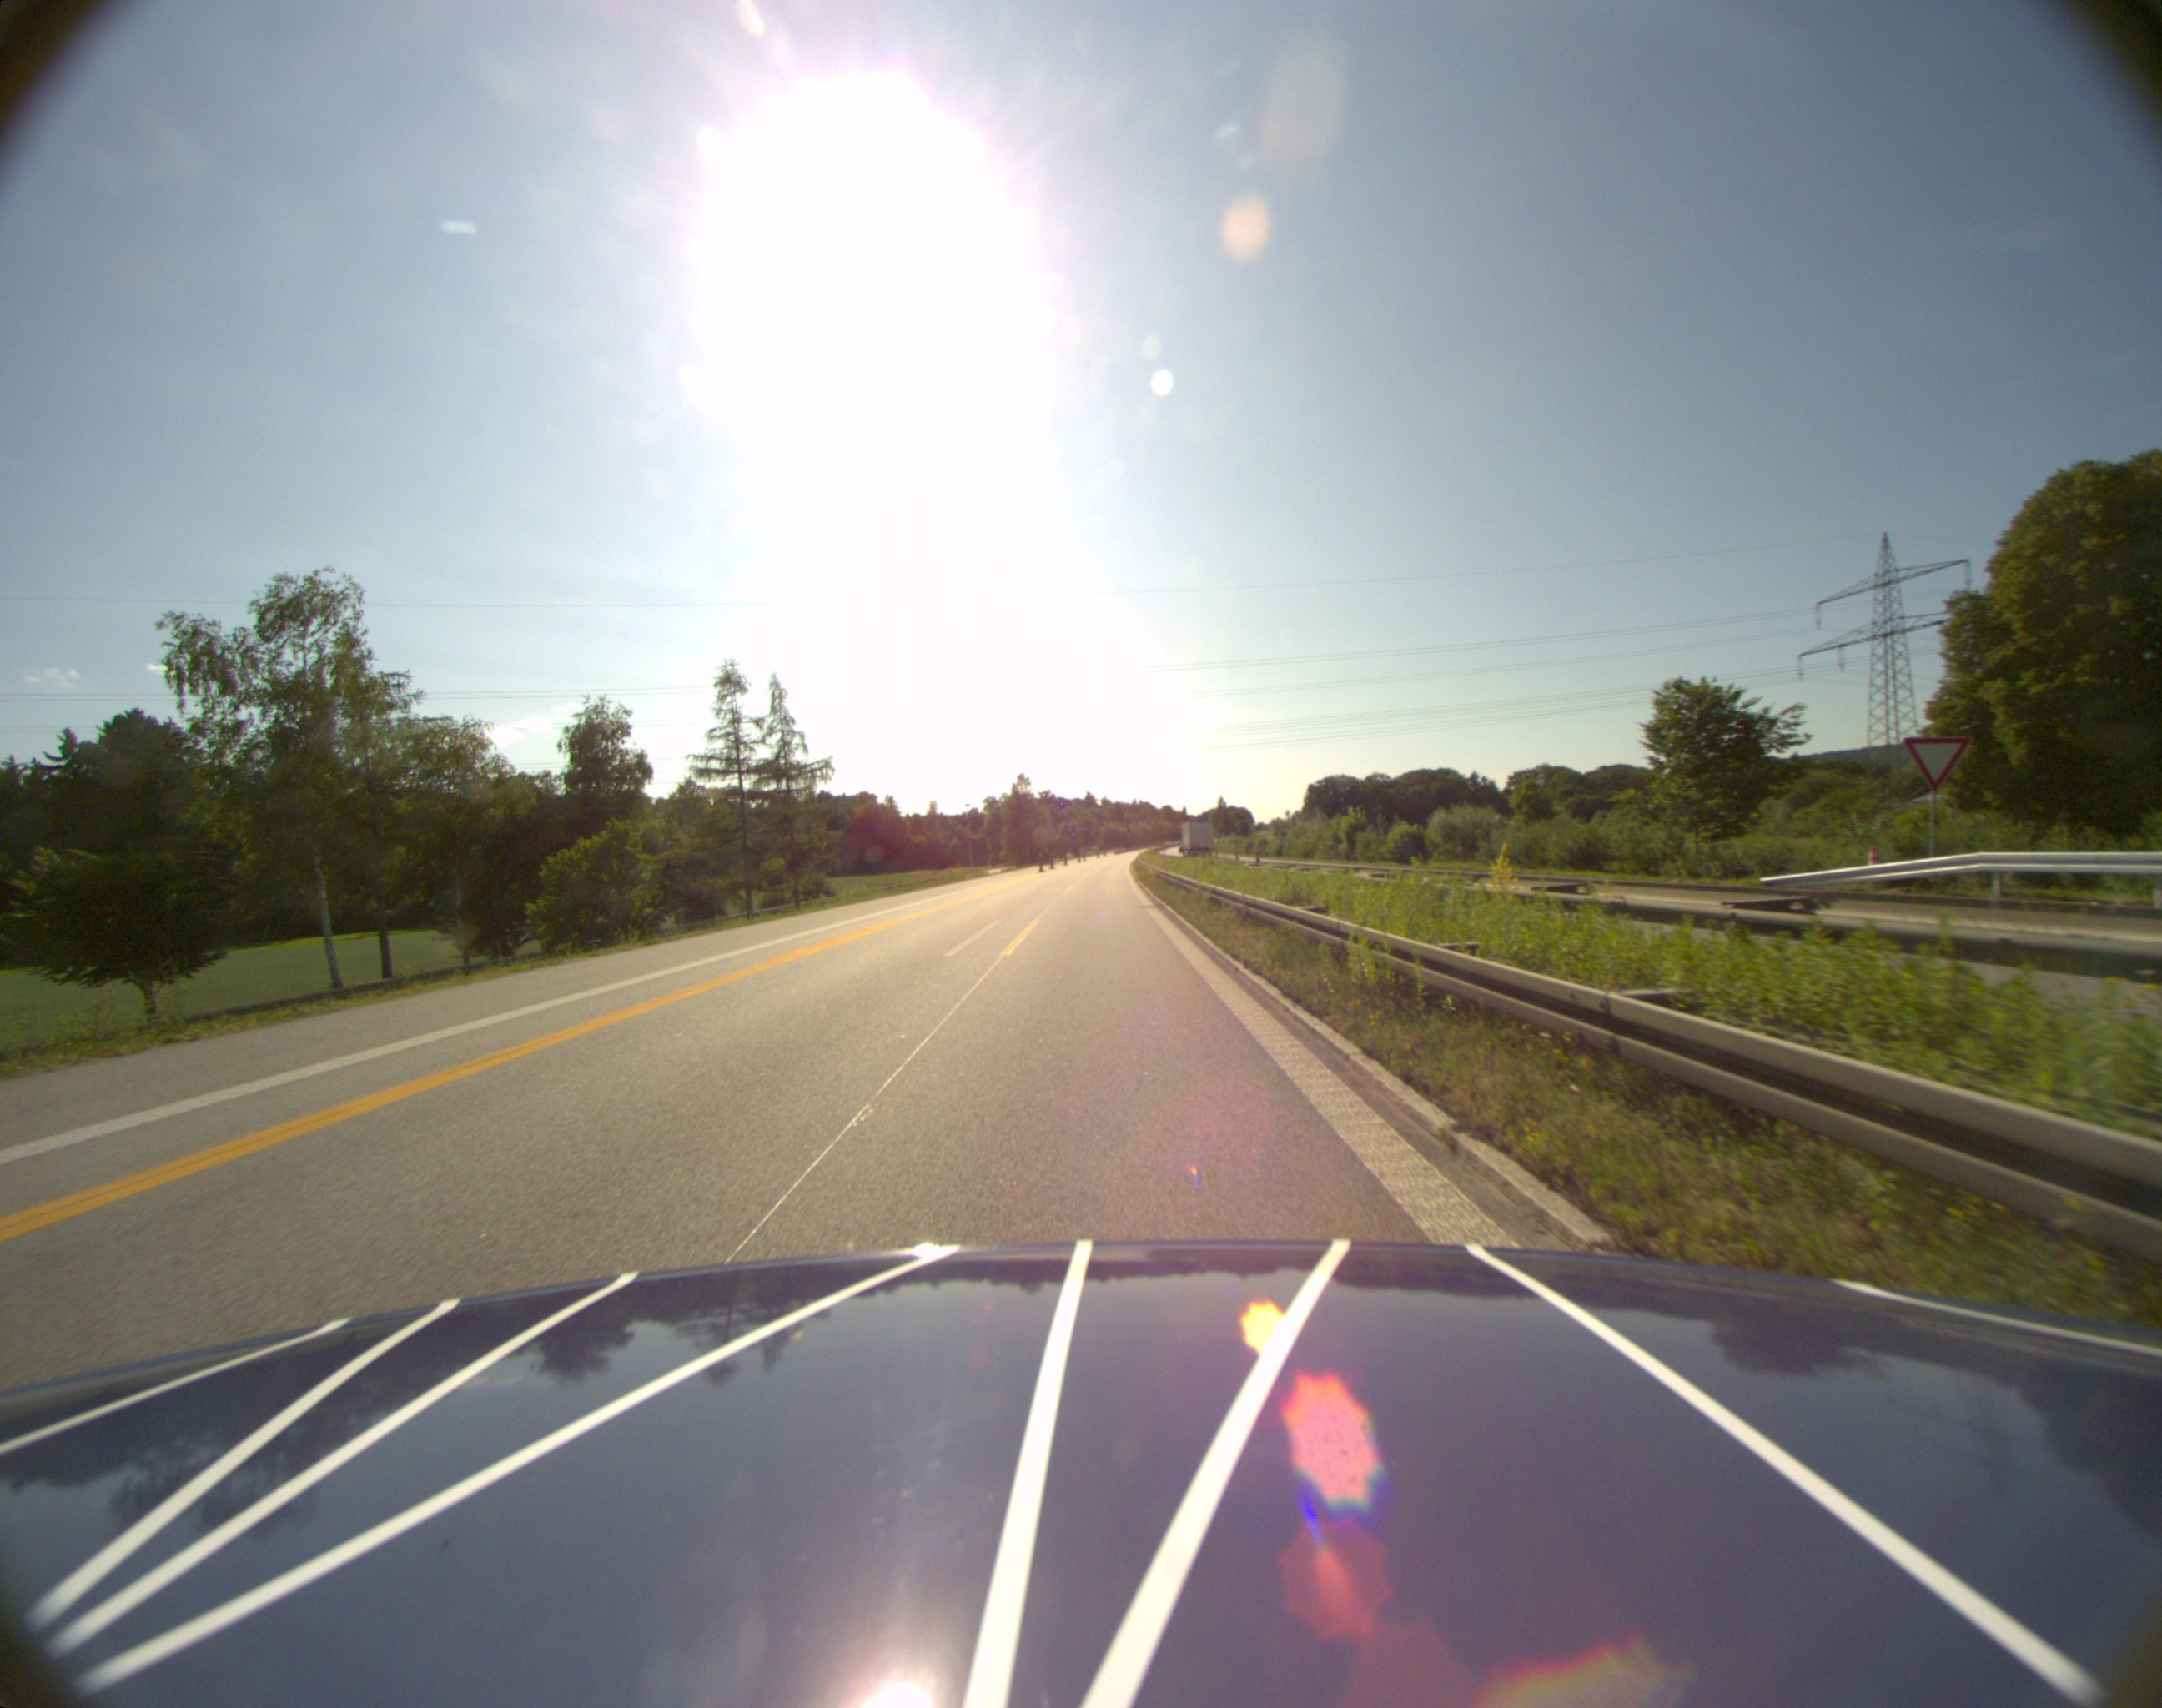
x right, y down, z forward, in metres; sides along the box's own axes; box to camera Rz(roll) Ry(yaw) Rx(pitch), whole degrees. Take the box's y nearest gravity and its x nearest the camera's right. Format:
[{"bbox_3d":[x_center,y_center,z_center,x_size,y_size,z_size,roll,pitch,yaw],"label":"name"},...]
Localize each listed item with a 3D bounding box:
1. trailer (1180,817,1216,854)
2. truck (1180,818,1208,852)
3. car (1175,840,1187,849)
[{"bbox_3d":[13.416,-2.005,87.995,2.685,3.931,13.771,-2,0,3],"label":"trailer"},{"bbox_3d":[13.740,-2.269,92.710,2.638,3.937,5.843,-2,1,3],"label":"truck"},{"bbox_3d":[17.488,-1.705,132.792,1.781,1.421,4.269,-1,1,4],"label":"car"}]
